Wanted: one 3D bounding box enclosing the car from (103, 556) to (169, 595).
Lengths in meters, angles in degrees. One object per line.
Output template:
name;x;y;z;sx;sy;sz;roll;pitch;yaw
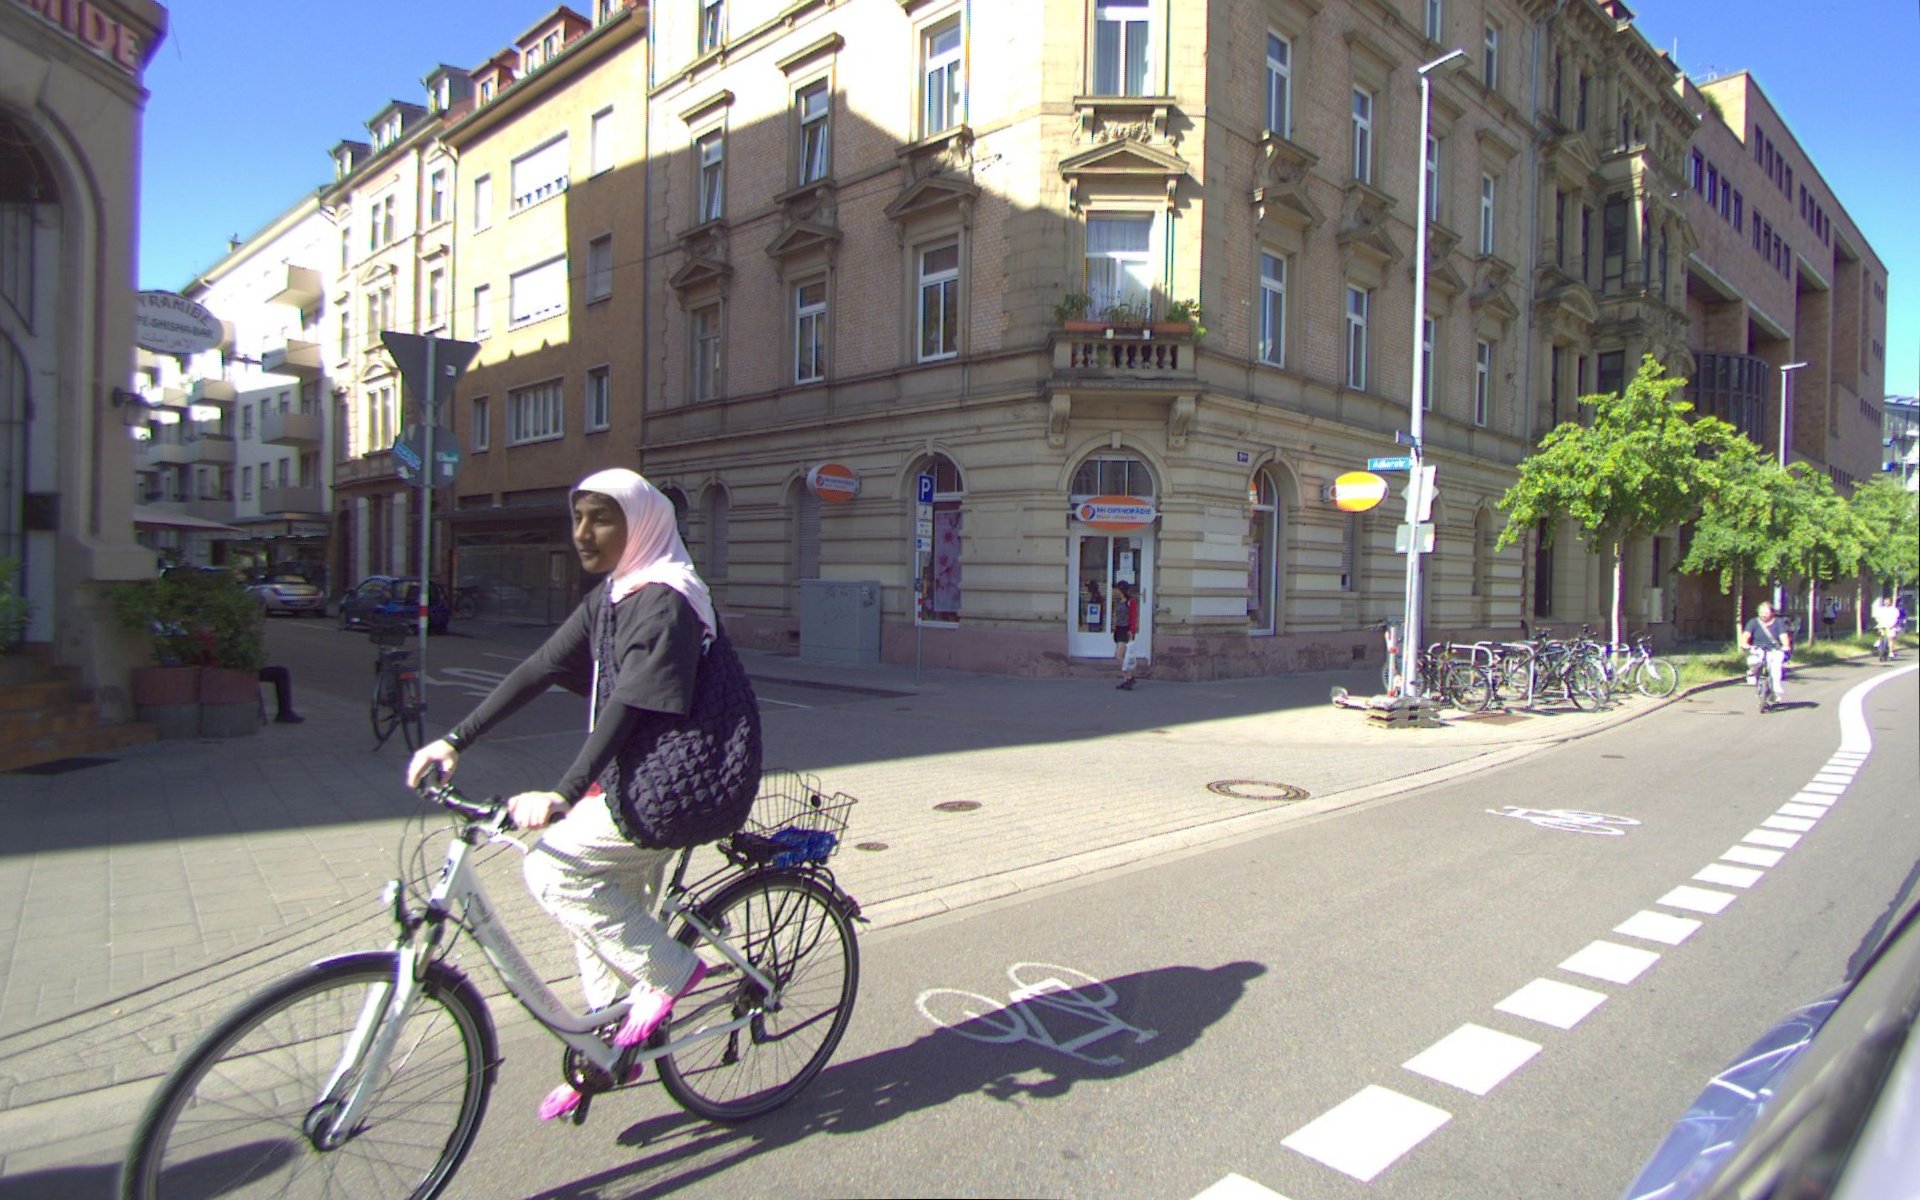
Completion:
car;-37.557;-1.120;46.112;3.758;1.686;1.775;2;1;42

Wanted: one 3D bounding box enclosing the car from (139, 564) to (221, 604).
car;-30.110;-0.644;39.051;3.757;1.450;1.776;2;1;40

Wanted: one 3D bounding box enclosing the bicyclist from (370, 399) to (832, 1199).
bicyclist;-0.891;0.484;2.510;0.853;1.733;0.780;1;-1;-41

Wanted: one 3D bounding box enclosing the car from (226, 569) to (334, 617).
car;-21.353;-0.238;31.723;3.983;1.351;1.775;2;-1;40

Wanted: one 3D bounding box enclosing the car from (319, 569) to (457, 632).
car;-14.711;-0.004;25.960;3.983;1.438;1.775;2;-1;40

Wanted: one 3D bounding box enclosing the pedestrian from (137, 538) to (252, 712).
pedestrian;-8.305;0.254;10.980;0.906;1.783;0.854;0;0;43

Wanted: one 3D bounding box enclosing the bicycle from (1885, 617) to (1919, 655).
bicycle;28.848;1.091;30.973;1.480;1.110;0.578;0;-1;-39

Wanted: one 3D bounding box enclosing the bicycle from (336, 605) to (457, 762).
bicycle;-5.029;0.686;8.968;0.641;1.186;1.823;5;-1;-36

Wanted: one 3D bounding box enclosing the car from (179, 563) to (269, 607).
car;-26.035;-0.542;35.762;3.757;1.450;1.776;2;1;40

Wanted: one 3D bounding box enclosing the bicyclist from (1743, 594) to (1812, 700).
bicyclist;12.464;0.700;15.428;0.893;1.557;0.658;1;-1;-41

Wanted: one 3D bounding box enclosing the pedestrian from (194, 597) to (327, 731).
pedestrian;-6.879;0.587;9.962;0.849;1.229;0.920;0;0;43

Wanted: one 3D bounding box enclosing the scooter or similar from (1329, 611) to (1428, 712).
scooter or similar;5.377;0.765;13.054;0.411;1.204;1.115;1;1;-33

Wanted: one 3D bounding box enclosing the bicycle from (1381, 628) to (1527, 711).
bicycle;6.644;0.905;13.694;0.595;0.955;1.677;1;1;-33

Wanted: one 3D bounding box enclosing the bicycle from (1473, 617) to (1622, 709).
bicycle;8.516;0.881;14.737;0.595;1.114;1.729;1;3;-37

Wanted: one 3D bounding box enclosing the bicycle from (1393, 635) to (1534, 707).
bicycle;7.047;0.966;14.230;0.595;0.831;1.677;1;2;-33

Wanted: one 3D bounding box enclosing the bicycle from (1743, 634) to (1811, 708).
bicycle;12.440;1.052;15.395;1.481;1.040;0.558;0;-1;-41

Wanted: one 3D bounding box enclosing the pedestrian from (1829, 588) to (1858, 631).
pedestrian;39.576;0.422;45.327;1.087;1.906;0.789;0;1;-41

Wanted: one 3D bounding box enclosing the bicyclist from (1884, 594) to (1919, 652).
bicyclist;28.907;0.705;31.034;0.892;1.751;0.684;1;-1;-38

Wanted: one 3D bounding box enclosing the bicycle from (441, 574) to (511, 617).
bicycle;-14.225;-0.139;29.758;1.988;1.193;0.629;1;1;19

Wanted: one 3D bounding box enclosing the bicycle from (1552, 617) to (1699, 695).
bicycle;11.497;0.932;17.531;1.993;1.106;0.835;5;3;40

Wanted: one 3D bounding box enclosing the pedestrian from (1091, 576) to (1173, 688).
pedestrian;2.490;0.440;14.676;0.908;1.561;0.713;1;1;-25

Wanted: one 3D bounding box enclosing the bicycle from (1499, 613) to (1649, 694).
bicycle;10.282;0.859;17.017;0.697;1.142;2.001;1;3;-39

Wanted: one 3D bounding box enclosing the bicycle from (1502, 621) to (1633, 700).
bicycle;9.524;0.919;15.913;0.595;1.058;1.605;1;3;-37

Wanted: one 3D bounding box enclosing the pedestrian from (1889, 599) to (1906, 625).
pedestrian;56.017;0.699;60.457;0.723;1.505;0.633;0;1;-41

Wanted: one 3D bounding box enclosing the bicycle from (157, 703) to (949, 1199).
bicycle;-0.874;0.888;2.538;1.761;1.106;0.558;0;-1;-42
